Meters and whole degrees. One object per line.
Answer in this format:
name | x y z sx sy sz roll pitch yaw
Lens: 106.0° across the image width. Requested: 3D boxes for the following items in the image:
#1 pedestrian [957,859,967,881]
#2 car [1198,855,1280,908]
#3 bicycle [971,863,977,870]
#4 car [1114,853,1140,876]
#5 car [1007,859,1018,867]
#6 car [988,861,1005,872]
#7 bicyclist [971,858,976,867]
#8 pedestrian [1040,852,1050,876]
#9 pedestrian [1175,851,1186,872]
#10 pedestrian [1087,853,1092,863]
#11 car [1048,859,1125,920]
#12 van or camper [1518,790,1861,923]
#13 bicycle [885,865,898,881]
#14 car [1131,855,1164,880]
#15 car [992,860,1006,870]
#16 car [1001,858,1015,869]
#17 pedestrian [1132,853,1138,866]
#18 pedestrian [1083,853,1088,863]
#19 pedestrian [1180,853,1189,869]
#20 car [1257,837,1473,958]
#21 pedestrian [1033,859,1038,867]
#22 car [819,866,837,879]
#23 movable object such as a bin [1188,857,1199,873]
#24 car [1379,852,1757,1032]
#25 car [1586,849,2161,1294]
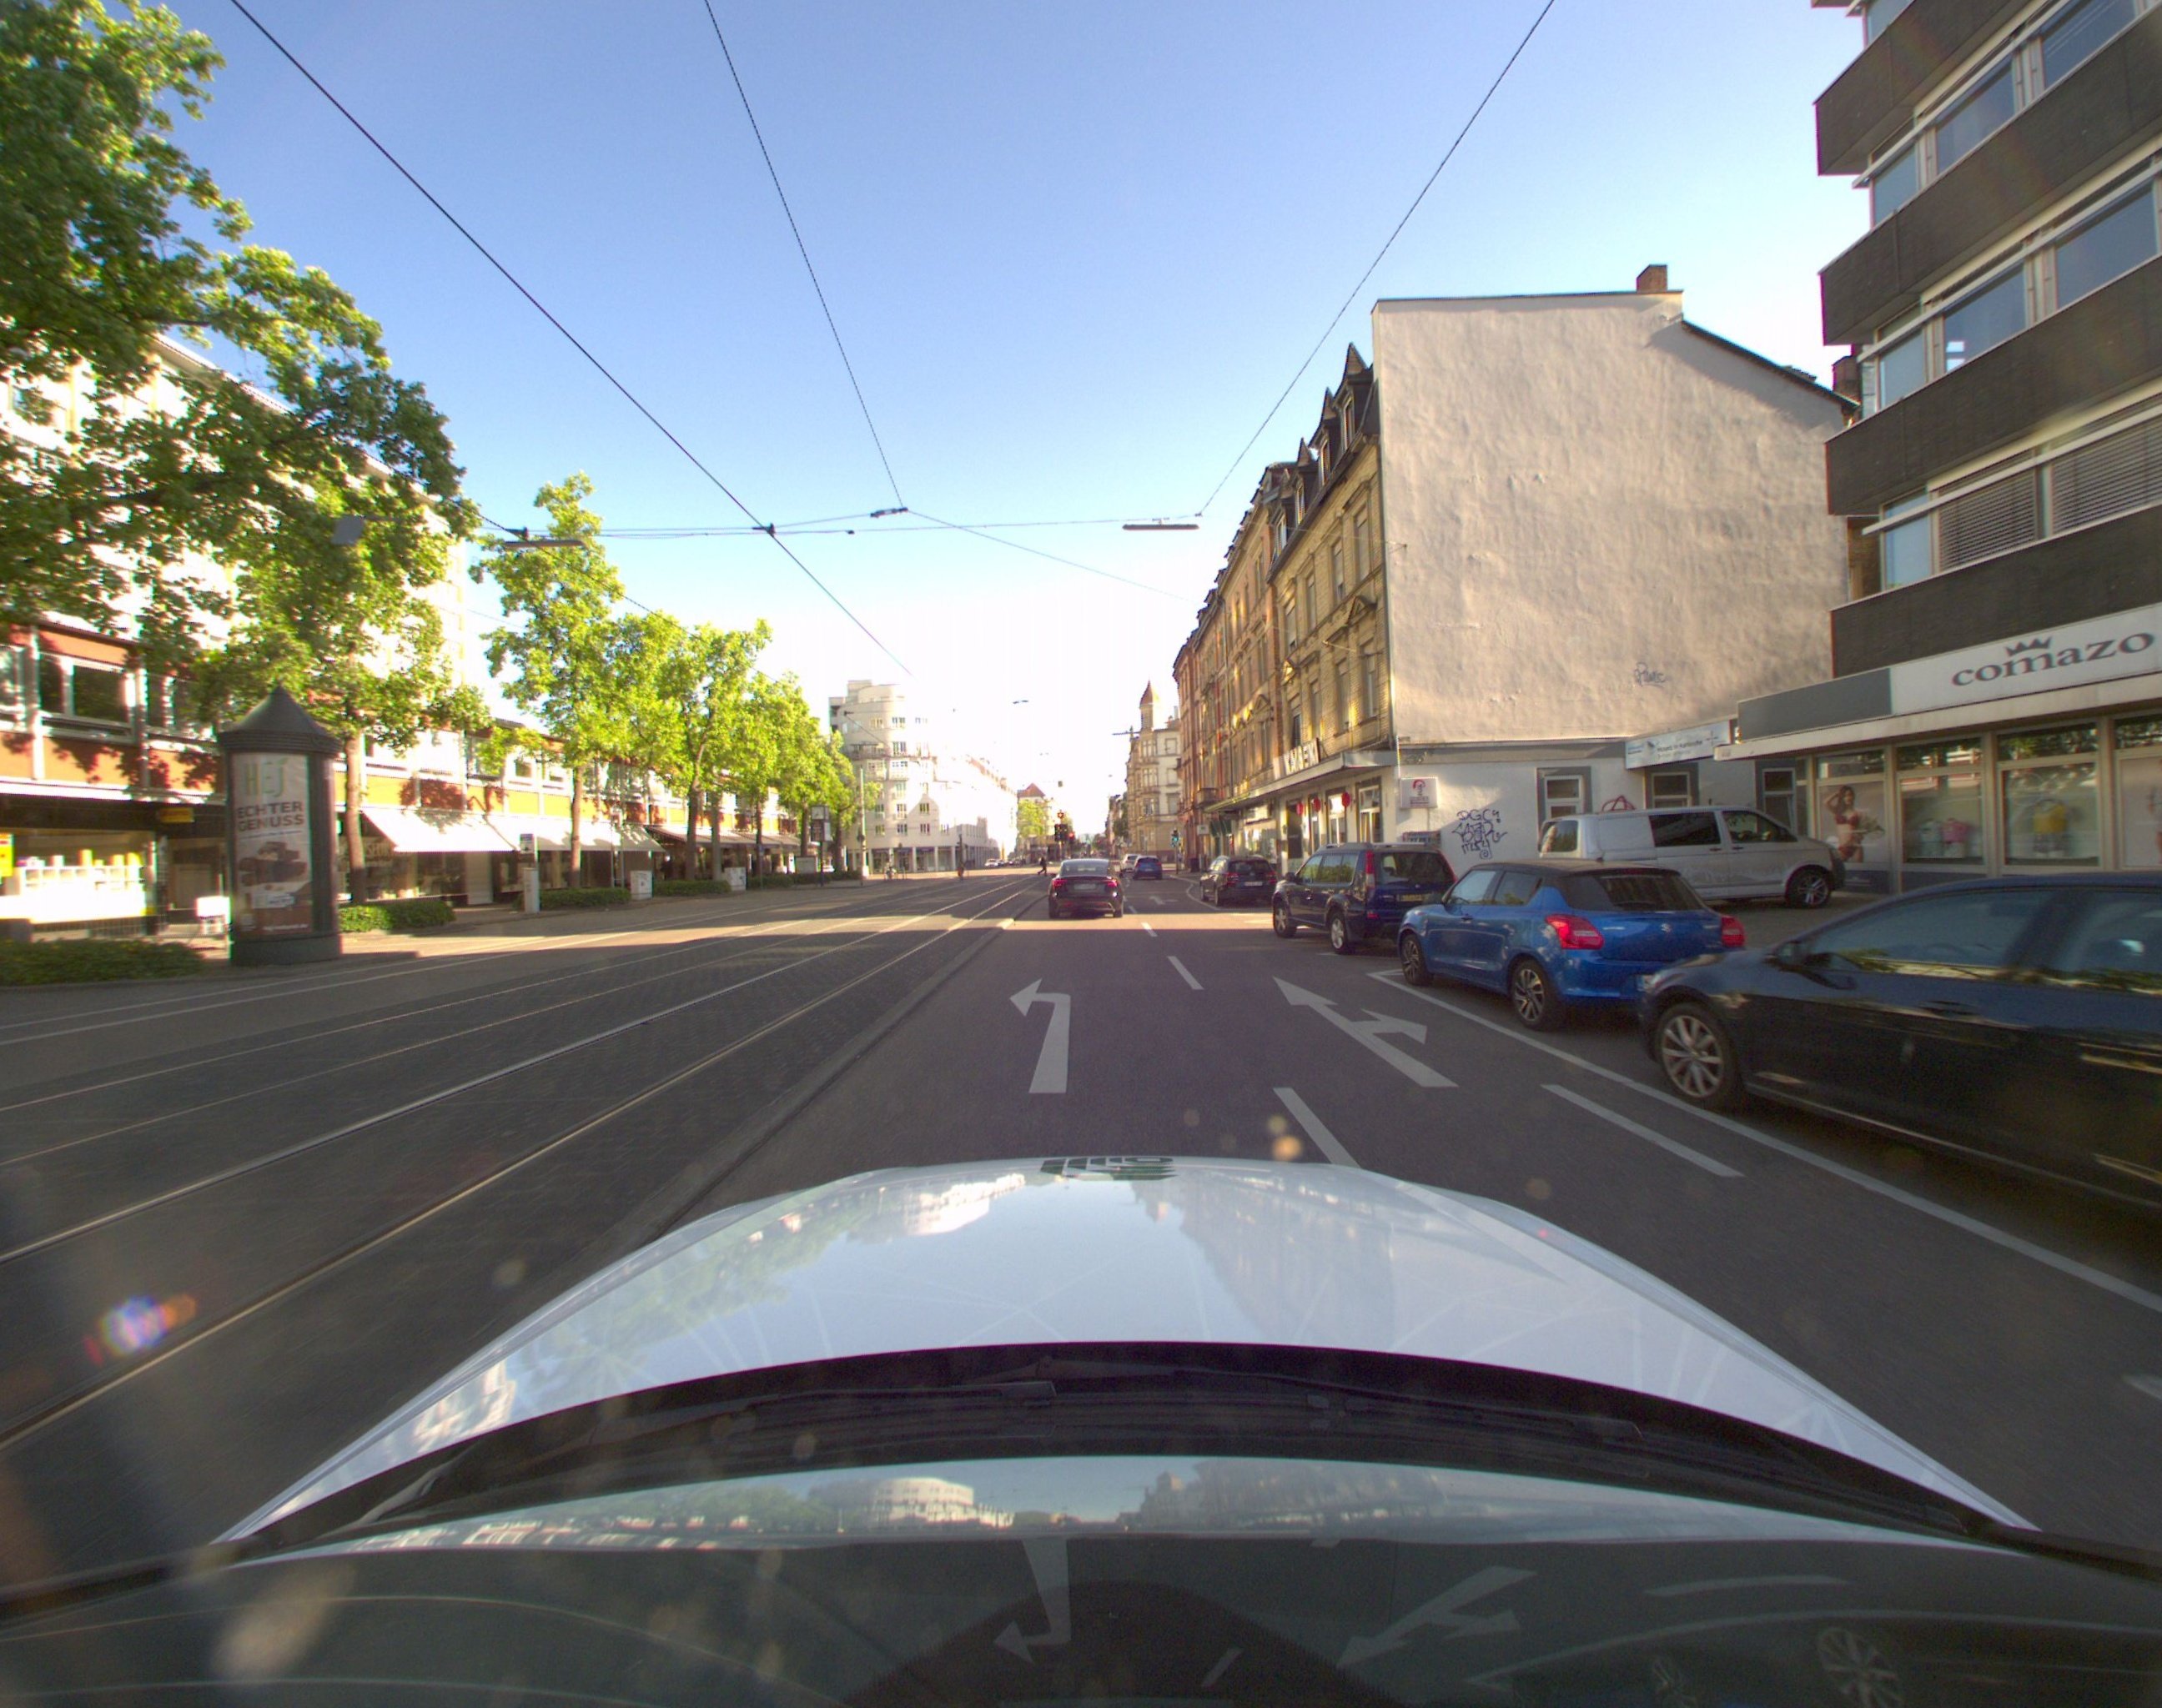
pedestrian | -8.490 1.156 58.088 0.498 1.517 0.859 -4 0 1
car | 4.683 0.758 24.663 1.684 1.451 4.359 0 0 0
bicycle | -15.348 1.766 116.506 0.592 0.972 1.818 -2 -1 1
car | 3.694 0.865 66.287 1.986 1.743 4.000 0 -1 1
car | -13.047 1.667 155.990 1.723 1.515 4.404 -2 0 0
car | -12.253 1.763 118.031 1.988 1.451 4.500 -2 0 -1
bicyclist | -15.365 1.266 116.433 0.586 1.285 0.927 -2 -1 1
pedestrian | -2.700 0.715 60.588 0.556 1.763 0.895 -4 0 1
pedestrian | 7.769 0.559 63.663 0.680 1.607 0.729 -2 0 -8
pedestrian | 1.487 0.715 139.268 0.633 1.698 0.935 0 -1 8
car | 0.142 0.848 21.247 1.804 1.424 4.153 0 0 0
van or camper | 11.025 0.050 15.081 4.671 1.933 2.002 -5 0 4
bicycle | -15.169 1.507 65.304 0.496 1.186 2.234 -2 0 -1
car | 4.025 0.815 49.945 1.775 1.451 3.655 0 0 1
car | -14.090 1.859 139.879 1.988 1.596 3.997 -2 -1 -1
car | -13.390 1.787 149.889 2.220 1.911 4.608 -2 0 0
pedestrian | 7.294 0.711 110.233 0.778 1.749 1.092 -1 1 -2
pedestrian | 0.796 0.755 144.357 0.710 1.777 0.569 -2 0 36
pedestrian | 10.513 0.699 82.415 0.694 1.655 0.635 -3 -1 22
car | 4.583 0.635 13.965 1.688 1.713 4.605 0 0 -6
pedestrian | -8.193 1.631 146.931 0.729 1.527 0.743 -1 0 -1
car | -32.012 2.293 103.025 1.800 1.403 4.084 -2 2 -13
movable object such as a bin | 8.128 0.808 58.659 0.660 1.072 0.591 -5 0 3
car | 4.649 0.725 8.505 1.708 1.454 3.778 0 0 0
car | 4.449 0.732 3.719 1.692 1.483 4.226 0 -1 0
